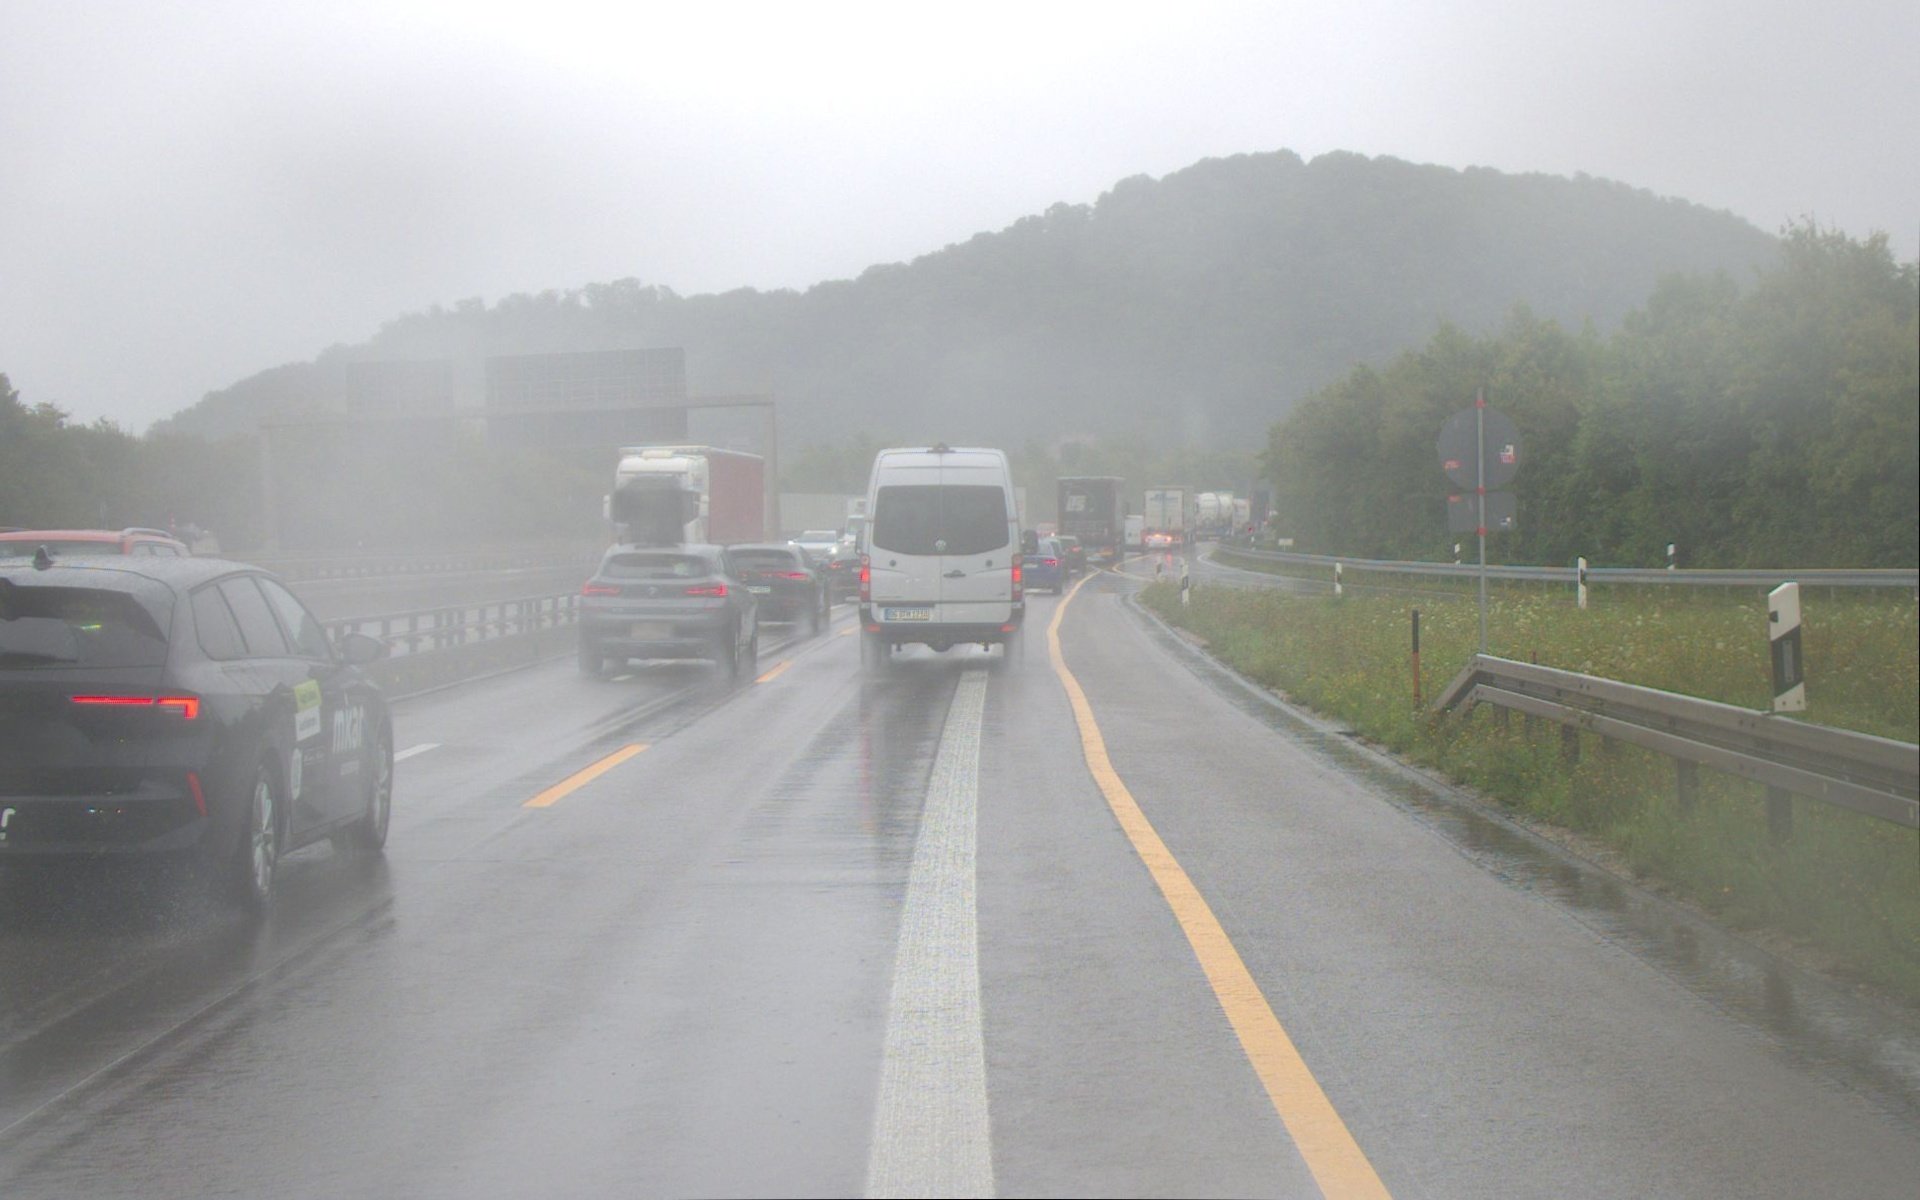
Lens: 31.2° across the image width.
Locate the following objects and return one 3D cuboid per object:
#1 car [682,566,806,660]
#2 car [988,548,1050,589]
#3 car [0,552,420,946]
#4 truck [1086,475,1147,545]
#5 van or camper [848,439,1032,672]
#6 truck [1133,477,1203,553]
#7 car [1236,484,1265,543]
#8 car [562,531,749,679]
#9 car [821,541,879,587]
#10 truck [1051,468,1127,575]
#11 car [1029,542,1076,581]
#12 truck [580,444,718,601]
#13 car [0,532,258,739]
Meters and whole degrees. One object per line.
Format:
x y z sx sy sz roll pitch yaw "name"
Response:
-3.586 0.187 57.666 1.852 1.495 4.000 0 1 0 "car"
1.571 -0.852 91.838 1.384 1.074 3.123 0 1 -4 "car"
-3.626 0.515 14.981 1.938 1.422 4.761 1 1 -2 "car"
8.926 -5.089 196.701 3.321 3.749 9.906 1 1 2 "truck"
-0.241 -0.554 42.318 2.139 2.712 4.648 0 1 0 "van or camper"
13.787 -5.566 226.864 3.929 4.768 9.904 1 1 7 "truck"
20.860 -6.208 246.977 2.058 4.177 6.745 0 1 5 "car"
-3.509 0.026 40.214 1.867 1.653 3.988 0 1 -1 "car"
-2.569 -0.856 80.903 1.262 1.074 3.254 0 1 0 "car"
6.011 -3.572 159.643 3.321 4.768 9.906 1 1 2 "truck"
3.005 -1.254 112.206 1.384 1.252 3.123 0 1 -2 "car"
-8.760 -2.163 97.625 3.008 4.257 6.800 -1 1 2 "truck"
-7.214 0.244 28.851 1.802 1.588 4.184 1 1 -1 "car"
